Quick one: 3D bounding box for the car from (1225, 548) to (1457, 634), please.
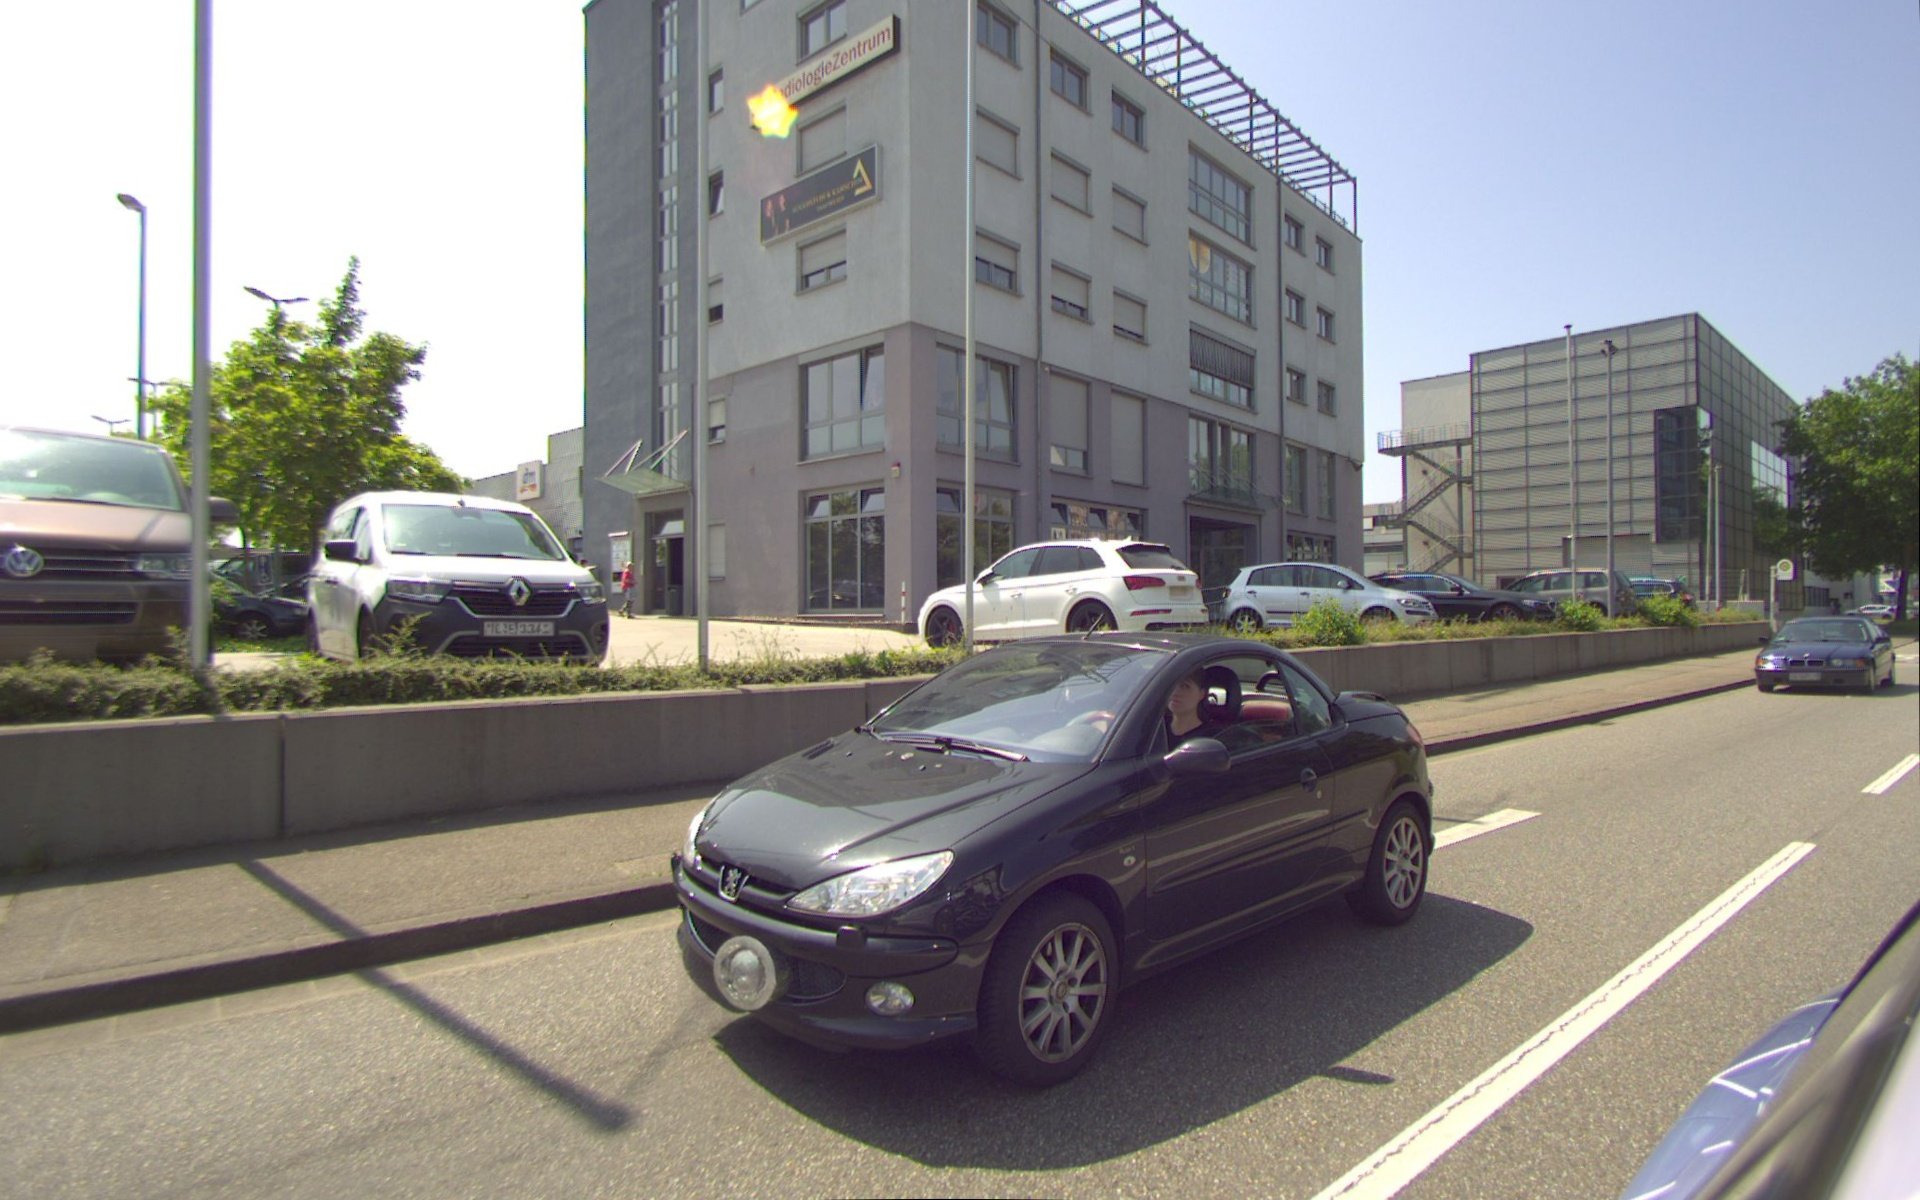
[{"bbox_3d":[7.519,-0.139,20.110,3.973,1.505,1.736,-2,-1,35],"label":"car"}]

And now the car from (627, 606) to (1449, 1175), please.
[{"bbox_3d":[0.559,0.752,4.360,3.440,1.373,1.639,0,1,-43],"label":"car"}]

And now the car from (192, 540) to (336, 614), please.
[{"bbox_3d":[-21.930,-0.678,32.016,3.358,2.221,1.676,1,-2,-15],"label":"car"}]

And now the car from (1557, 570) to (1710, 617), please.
[{"bbox_3d":[23.181,-0.231,34.950,1.729,1.505,4.131,-1,1,-42],"label":"car"}]

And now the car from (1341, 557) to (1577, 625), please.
[{"bbox_3d":[11.823,-0.174,24.230,4.747,1.399,1.771,-3,-1,44],"label":"car"}]

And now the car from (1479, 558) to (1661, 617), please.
[{"bbox_3d":[17.419,-0.316,29.035,1.729,1.505,4.130,-1,-1,-42],"label":"car"}]

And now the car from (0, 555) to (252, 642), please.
[{"bbox_3d":[-16.755,-0.052,20.102,4.104,1.620,1.676,-1,0,-17],"label":"car"}]

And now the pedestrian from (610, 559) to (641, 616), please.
[{"bbox_3d":[-9.399,-0.349,28.440,0.630,1.595,0.773,0,0,-35],"label":"pedestrian"}]

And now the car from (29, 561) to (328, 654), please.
[{"bbox_3d":[-13.714,0.104,18.103,3.918,1.504,2.003,0,1,-28],"label":"car"}]

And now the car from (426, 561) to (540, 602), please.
[{"bbox_3d":[-19.277,-0.722,40.959,3.923,1.571,2.000,0,0,-34],"label":"car"}]

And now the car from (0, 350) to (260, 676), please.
[{"bbox_3d":[-6.813,-0.366,7.471,2.145,1.821,4.698,0,-3,-42],"label":"car"}]

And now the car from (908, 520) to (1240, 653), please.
[{"bbox_3d":[1.517,-0.114,14.735,4.463,1.630,2.063,-3,-1,45],"label":"car"}]

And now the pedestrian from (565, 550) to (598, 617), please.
[{"bbox_3d":[-10.712,-0.468,28.644,0.774,1.862,0.856,0,0,-27],"label":"pedestrian"}]

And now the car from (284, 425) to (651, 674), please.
[{"bbox_3d":[-4.752,-0.261,9.373,1.965,1.721,4.415,-2,-2,-41],"label":"car"}]

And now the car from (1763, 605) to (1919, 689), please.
[{"bbox_3d":[16.517,0.825,18.914,3.888,1.340,1.709,-1,-1,-42],"label":"car"}]
